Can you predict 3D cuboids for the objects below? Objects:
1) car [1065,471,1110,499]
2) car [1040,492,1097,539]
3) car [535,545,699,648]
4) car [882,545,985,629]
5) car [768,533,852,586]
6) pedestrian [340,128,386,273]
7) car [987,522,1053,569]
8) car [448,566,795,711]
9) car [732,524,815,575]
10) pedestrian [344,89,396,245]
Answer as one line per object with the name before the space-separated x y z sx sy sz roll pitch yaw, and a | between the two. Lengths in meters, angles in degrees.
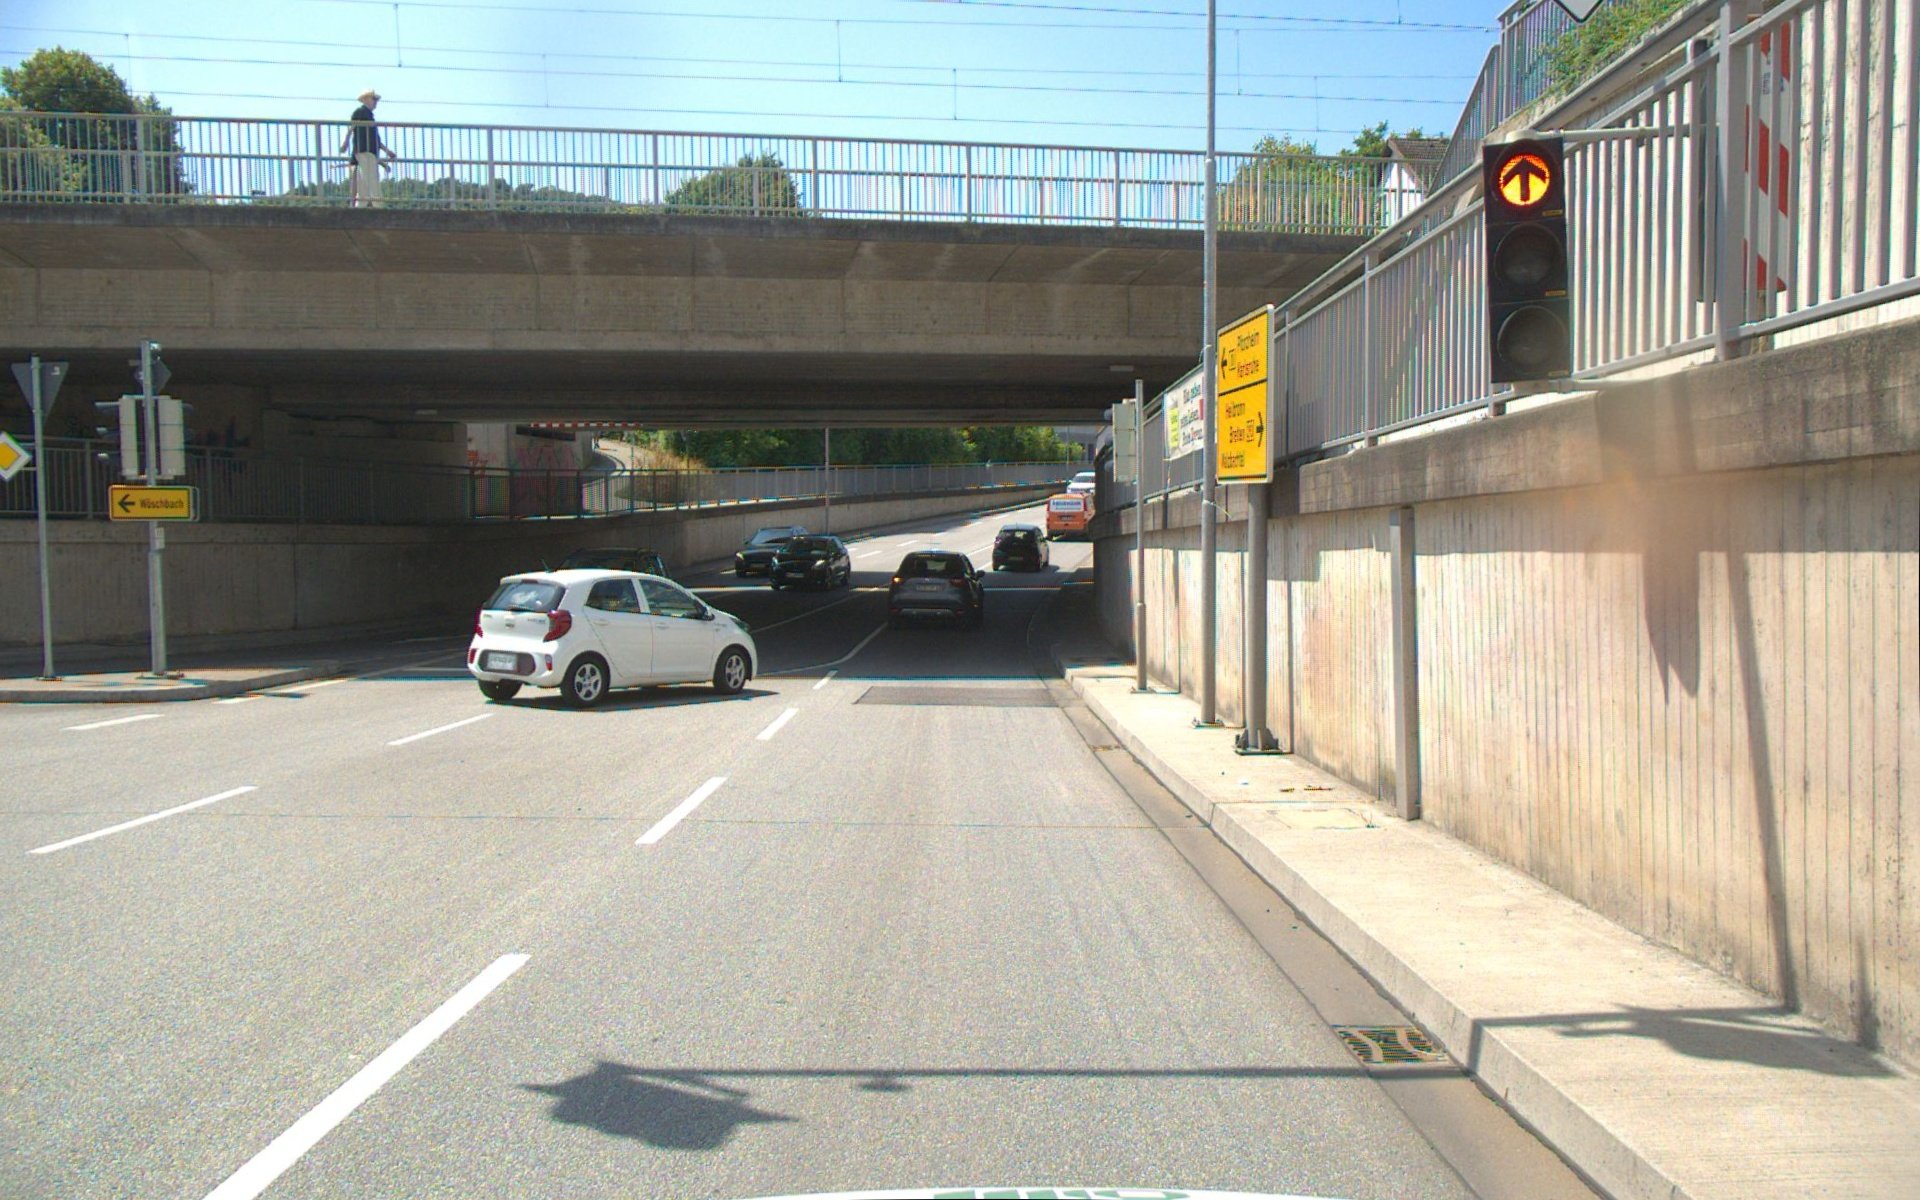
car | 7.812 -7.024 100.981 1.951 1.615 4.005 2 5 16
car | 4.732 -3.639 71.337 1.833 1.965 4.725 1 3 11
car | -6.004 -0.124 29.413 1.952 1.655 4.002 0 3 2
car | -0.510 -0.320 35.093 1.952 1.616 4.002 0 3 2
car | -4.300 -1.209 47.923 1.744 1.461 4.004 0 3 5
pedestrian | -9.264 -6.191 25.680 0.529 2.117 0.534 -1 0 -8
car | 2.088 -1.881 56.798 1.951 1.534 4.004 0 2 7
car | -3.942 0.370 19.828 1.697 1.444 3.985 2 3 36
car | -6.049 -1.680 53.956 1.951 1.616 4.004 0 3 5
pedestrian | -8.572 -6.282 24.043 0.565 2.117 0.534 -1 0 -5
